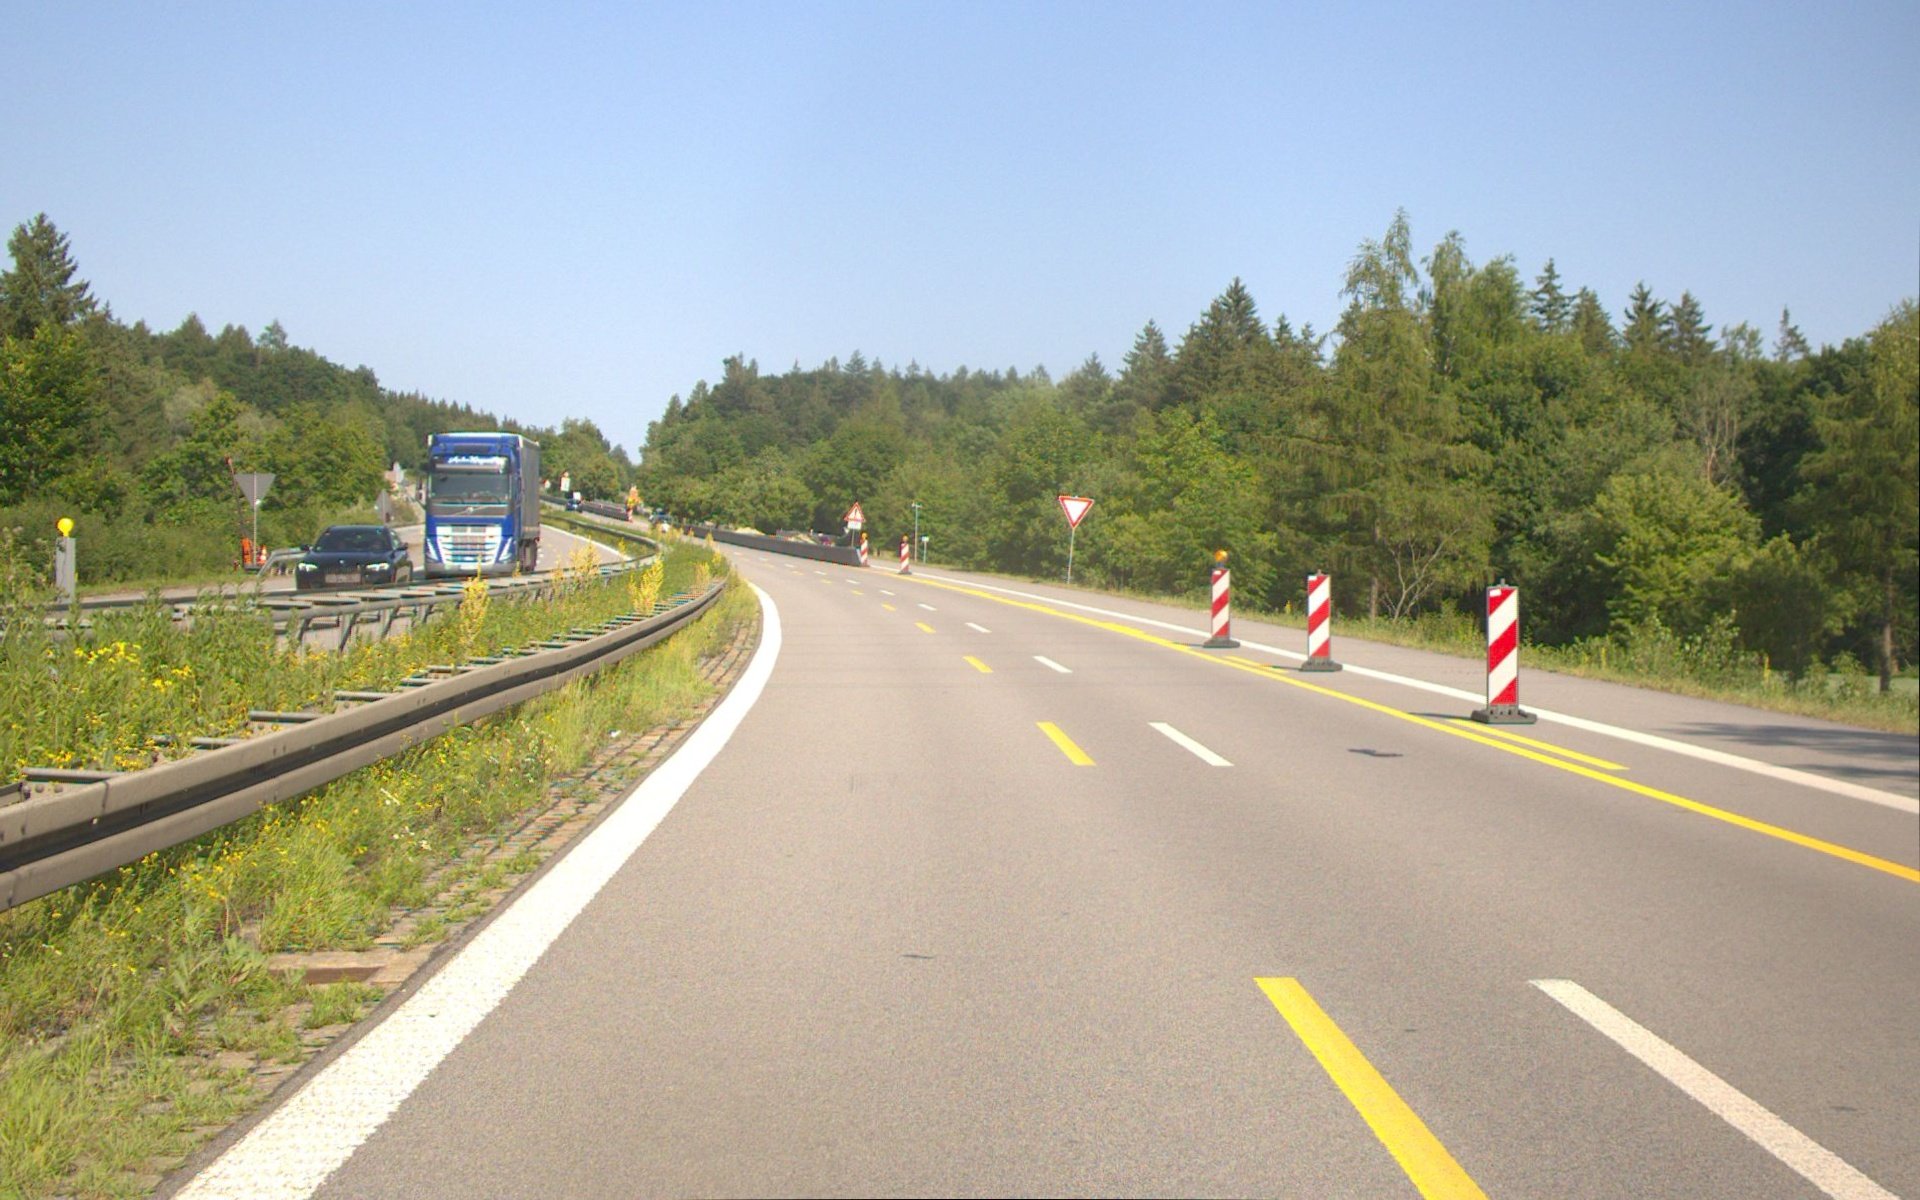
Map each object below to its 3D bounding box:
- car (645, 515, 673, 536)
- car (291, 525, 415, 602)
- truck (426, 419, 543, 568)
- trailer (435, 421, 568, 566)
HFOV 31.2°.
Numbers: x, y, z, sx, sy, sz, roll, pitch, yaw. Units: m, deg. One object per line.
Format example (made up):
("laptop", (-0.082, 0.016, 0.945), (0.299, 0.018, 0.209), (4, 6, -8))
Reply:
("car", (-22.656, -5.616, 258.452), (1.743, 1.461, 4.295), (3, 2, -9))
("car", (-11.574, -0.717, 65.803), (1.777, 1.424, 4.269), (0, 1, -2))
("truck", (-13.102, -2.899, 95.104), (2.632, 3.946, 5.843), (1, 1, -3))
("trailer", (-13.405, -3.123, 101.506), (2.678, 3.940, 13.771), (1, 1, -3))
